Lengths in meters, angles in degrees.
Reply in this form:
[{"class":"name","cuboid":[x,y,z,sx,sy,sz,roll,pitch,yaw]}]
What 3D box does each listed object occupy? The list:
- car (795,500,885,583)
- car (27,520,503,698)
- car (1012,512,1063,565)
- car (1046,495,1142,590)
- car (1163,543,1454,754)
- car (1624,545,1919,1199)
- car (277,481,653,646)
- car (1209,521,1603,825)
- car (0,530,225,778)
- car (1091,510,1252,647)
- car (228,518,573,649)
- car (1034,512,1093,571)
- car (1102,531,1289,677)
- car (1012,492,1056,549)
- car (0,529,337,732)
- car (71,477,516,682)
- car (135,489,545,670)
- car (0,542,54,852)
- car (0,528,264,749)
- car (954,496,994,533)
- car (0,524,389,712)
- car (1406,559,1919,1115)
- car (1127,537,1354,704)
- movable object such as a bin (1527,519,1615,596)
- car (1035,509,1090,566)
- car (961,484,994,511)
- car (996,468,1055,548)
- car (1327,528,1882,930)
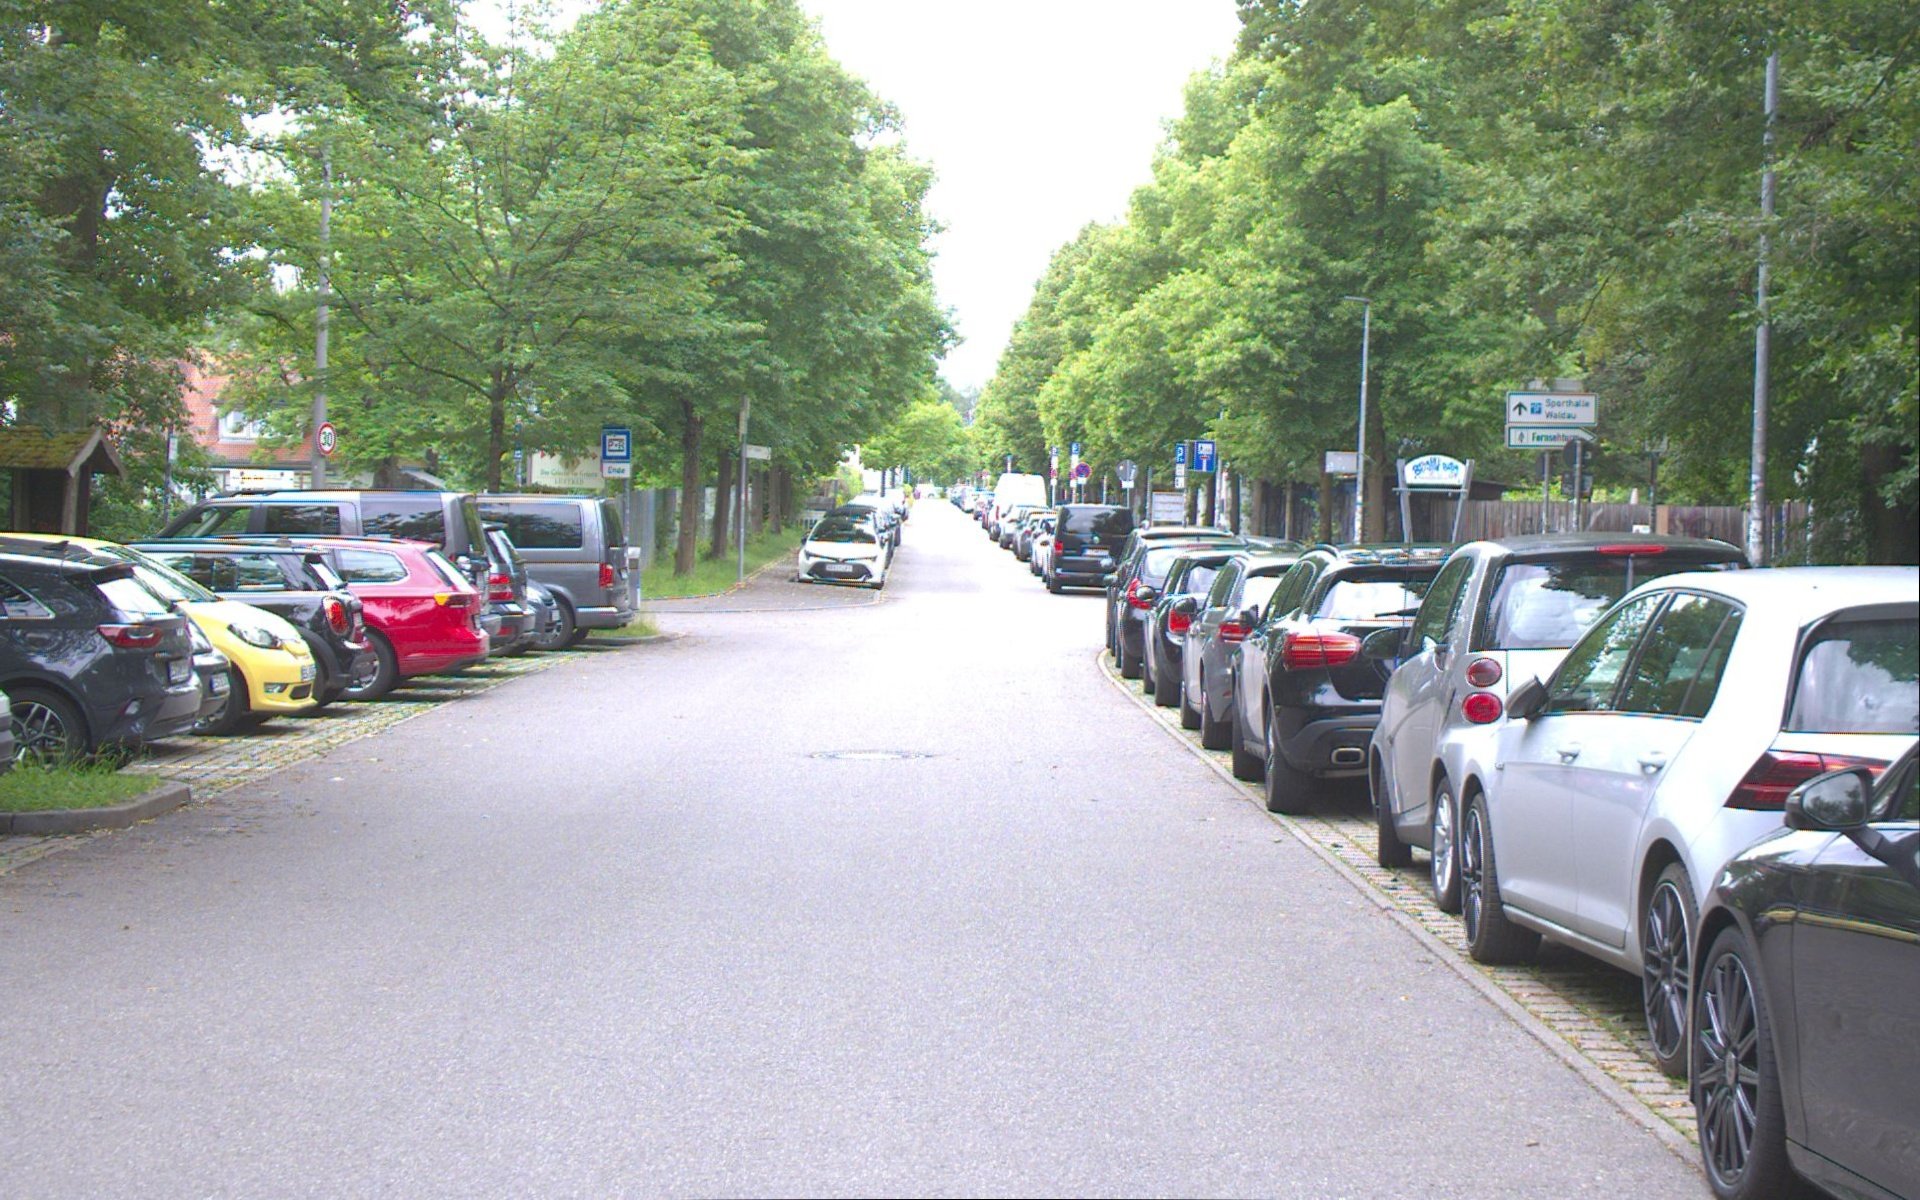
[{"class":"car","cuboid":[-2.563,-1.258,72.707,1.765,1.590,4.217,3,1,-3]},{"class":"car","cuboid":[-6.283,0.063,31.399,3.986,1.471,1.780,1,1,-2]},{"class":"car","cuboid":[2.329,-1.871,103.539,1.469,1.526,3.189,1,2,1]},{"class":"car","cuboid":[2.905,-1.279,75.143,1.988,2.006,4.108,1,2,1]},{"class":"car","cuboid":[2.561,0.302,26.233,1.736,1.427,4.502,1,1,0]},{"class":"car","cuboid":[2.616,0.663,6.259,1.736,1.469,4.606,1,1,-2]},{"class":"car","cuboid":[-6.227,-0.460,43.609,4.502,1.971,1.891,1,0,-1]},{"class":"car","cuboid":[2.522,0.342,20.412,1.736,1.583,4.382,1,1,0]},{"class":"car","cuboid":[-6.750,0.272,21.328,3.987,1.433,1.715,2,1,0]},{"class":"car","cuboid":[2.635,-0.306,43.682,1.736,1.628,4.376,1,1,0]},{"class":"car","cuboid":[-6.712,-0.220,41.480,3.815,1.507,1.809,0,2,3]},{"class":"car","cuboid":[2.684,-1.530,89.333,1.469,1.476,3.189,1,2,1]},{"class":"car","cuboid":[2.544,-0.003,37.990,1.736,1.489,4.234,1,1,0]},{"class":"car","cuboid":[2.588,-2.786,120.102,1.469,1.961,3.189,1,2,1]},{"class":"car","cuboid":[-6.934,0.192,26.378,3.987,1.433,1.618,2,1,0]},{"class":"car","cuboid":[-6.497,-0.215,33.795,3.987,1.856,1.813,2,1,0]},{"class":"car","cuboid":[-6.482,-0.230,36.233,3.986,1.759,1.824,1,1,-2]},{"class":"car","cuboid":[-6.548,0.428,16.398,3.987,1.462,1.715,1,1,0]},{"class":"car","cuboid":[-7.056,0.215,24.056,3.987,1.433,1.734,2,1,0]},{"class":"car","cuboid":[0.813,-4.802,193.259,1.994,2.007,4.000,1,1,3]},{"class":"car","cuboid":[-6.900,0.120,28.765,3.986,1.433,1.672,1,1,-2]},{"class":"car","cuboid":[2.720,0.610,11.170,1.736,1.420,4.155,1,1,-4]},{"class":"car","cuboid":[2.571,0.137,32.432,1.736,1.427,4.502,1,1,0]},{"class":"movable object such as a bin","cuboid":[11.660,-0.804,65.560,1.282,1.437,1.078,0,1,-44]},{"class":"car","cuboid":[2.819,-1.743,94.794,1.469,1.526,3.189,1,2,1]},{"class":"car","cuboid":[1.160,-6.760,226.677,1.898,1.700,4.063,1,1,3]},{"class":"car","cuboid":[2.527,-3.550,133.021,2.184,3.005,4.897,1,2,1]},{"class":"car","cuboid":[2.766,0.469,15.627,1.736,1.562,4.008,1,1,0]}]
